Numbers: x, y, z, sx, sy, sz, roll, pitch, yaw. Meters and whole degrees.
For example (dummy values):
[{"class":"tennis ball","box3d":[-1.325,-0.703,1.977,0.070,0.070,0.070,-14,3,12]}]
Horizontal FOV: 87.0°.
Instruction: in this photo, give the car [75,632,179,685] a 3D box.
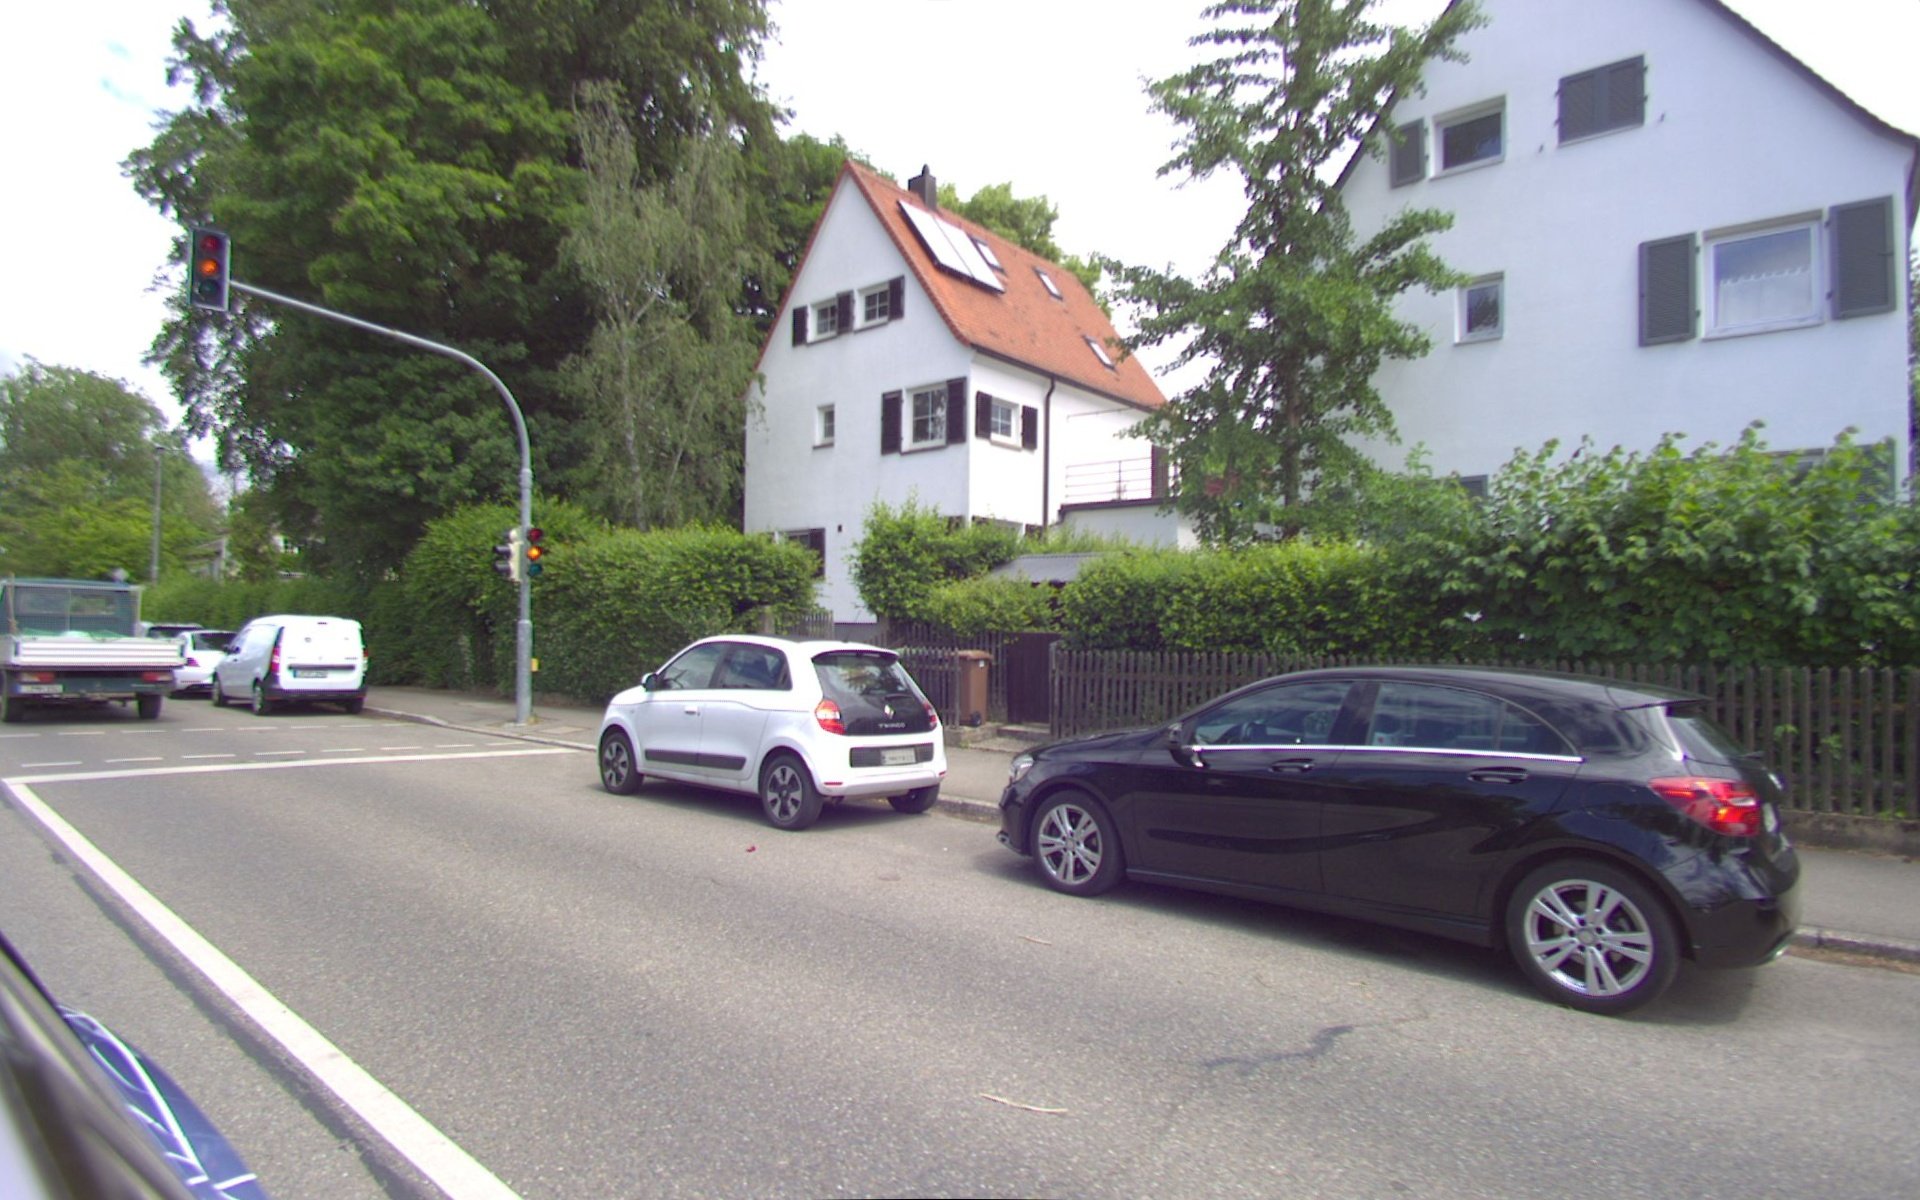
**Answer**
[{"class":"car","box3d":[-25.057,1.702,30.384,4.235,1.470,1.715,-2,-3,41]}]

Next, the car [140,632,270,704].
[{"class":"car","box3d":[-17.278,1.519,23.083,1.685,1.464,4.360,6,-6,-44]}]

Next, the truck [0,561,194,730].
[{"class":"truck","box3d":[-15.385,0.764,17.436,6.903,2.390,2.165,-2,-4,42]}]

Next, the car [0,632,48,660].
[{"class":"car","box3d":[-48.830,2.344,52.461,4.066,1.413,1.945,-2,-3,43]}]

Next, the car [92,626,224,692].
[{"class":"car","box3d":[-21.367,1.511,26.904,4.640,1.606,1.876,-2,-3,41]}]

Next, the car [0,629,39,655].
[{"class":"car","box3d":[-53.576,2.358,57.219,3.747,1.462,1.829,-2,-3,41]}]

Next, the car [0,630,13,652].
[{"class":"car","box3d":[-62.882,2.662,65.880,1.652,1.381,3.610,4,-4,-42]}]

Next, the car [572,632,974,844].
[{"class":"car","box3d":[-1.844,1.107,9.383,3.741,1.555,1.685,-2,-4,41]}]

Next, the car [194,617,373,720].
[{"class":"car","box3d":[-13.166,1.272,19.578,4.605,1.772,1.659,-2,-4,41]}]

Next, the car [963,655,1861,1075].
[{"class":"car","box3d":[2.194,1.071,5.748,4.323,1.421,1.724,-2,-4,43]}]
